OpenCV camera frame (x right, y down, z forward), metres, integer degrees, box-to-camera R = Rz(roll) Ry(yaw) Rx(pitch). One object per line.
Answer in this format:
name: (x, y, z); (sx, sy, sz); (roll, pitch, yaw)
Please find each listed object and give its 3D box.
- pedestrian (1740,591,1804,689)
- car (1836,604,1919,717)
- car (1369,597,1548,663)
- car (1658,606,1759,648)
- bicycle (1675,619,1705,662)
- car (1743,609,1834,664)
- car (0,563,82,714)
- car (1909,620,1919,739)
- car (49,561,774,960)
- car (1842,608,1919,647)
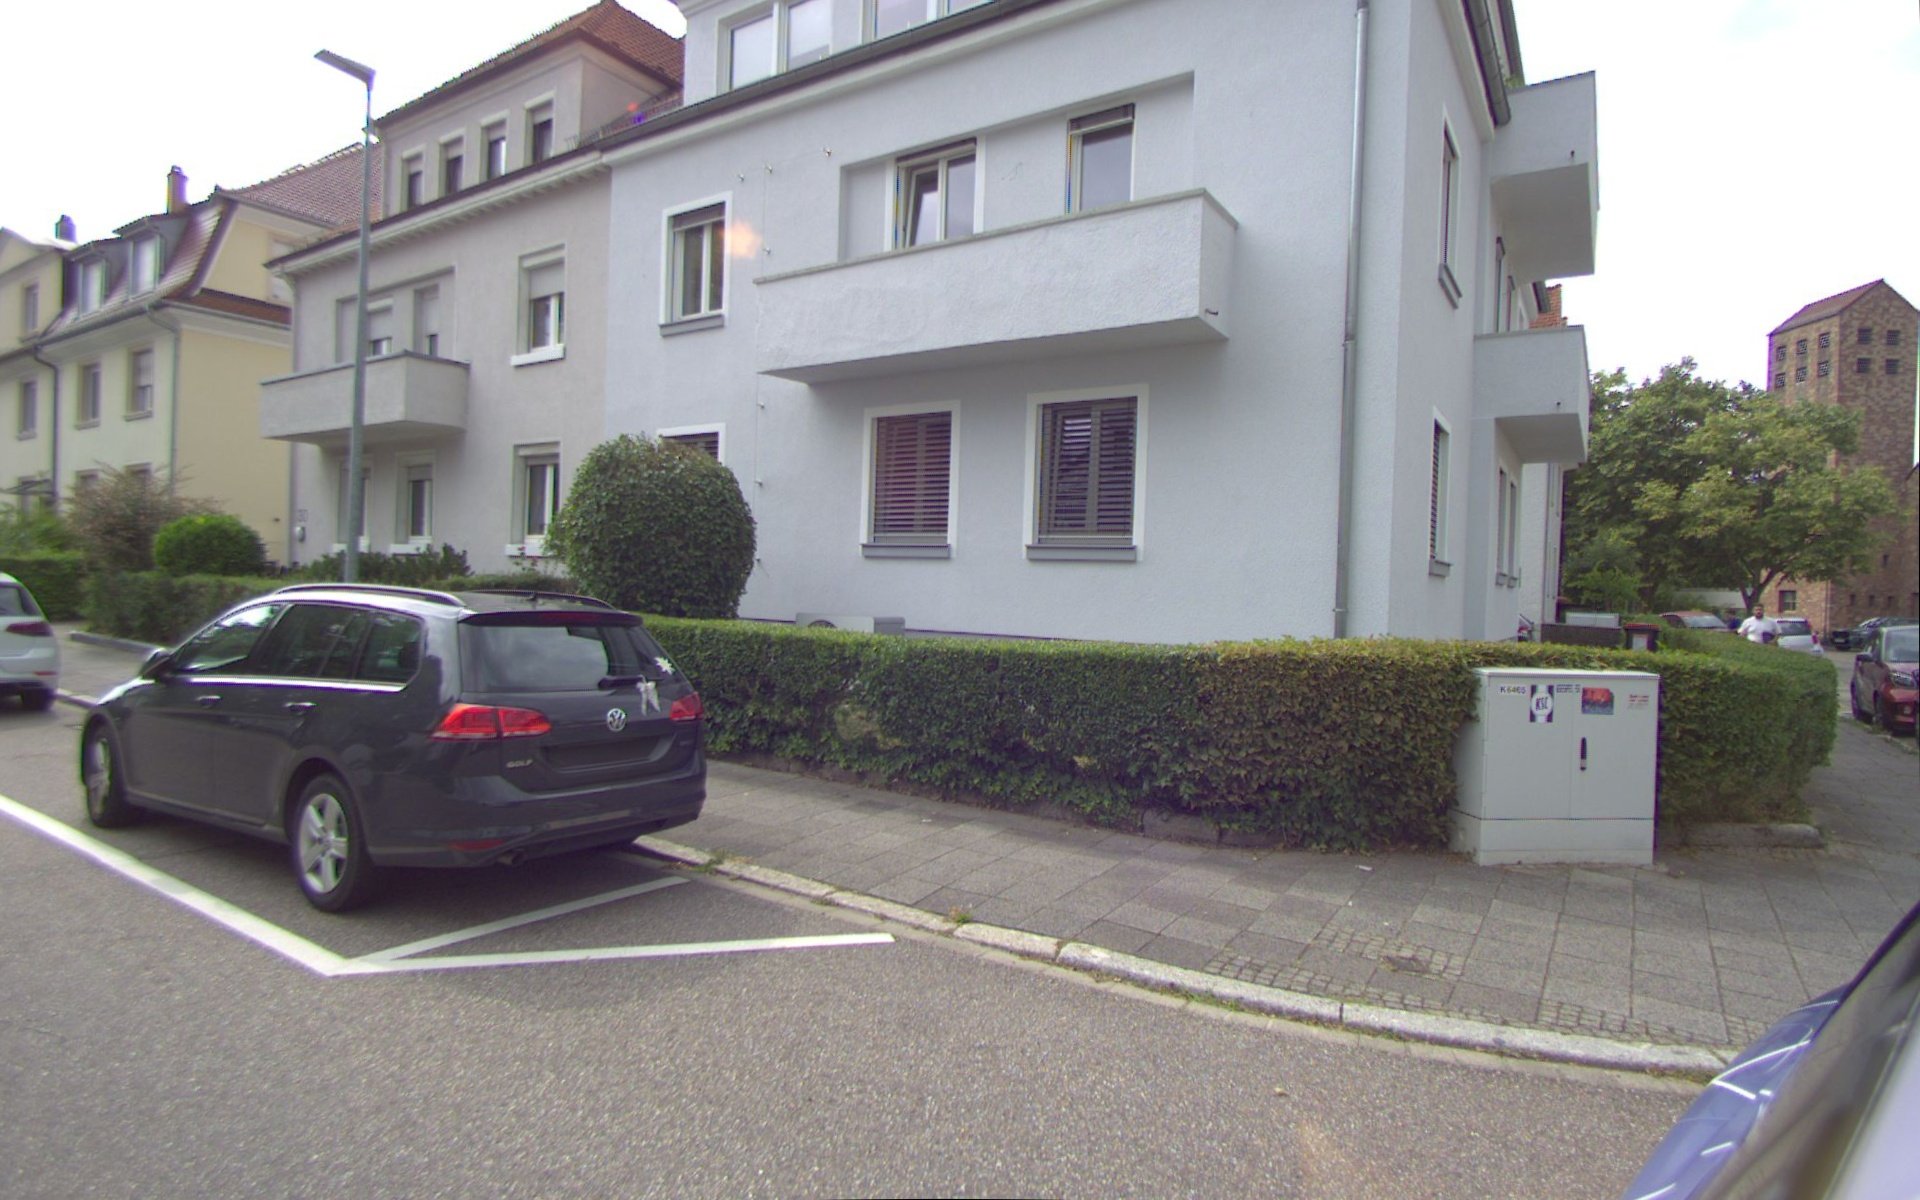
pedestrian: (16.498, 0.777, 20.582); (0.878, 1.902, 1.065); (2, 1, 34)
car: (14.378, 0.824, 14.960); (1.638, 1.515, 3.440); (-2, -1, 33)
car: (13.129, 0.727, 26.703); (3.975, 1.482, 1.975); (3, 1, 35)
car: (28.496, 0.992, 38.669); (1.624, 1.515, 3.472); (-1, -1, 9)
bicycle: (20.682, 1.121, 28.687); (0.419, 1.117, 2.093); (2, 1, 29)
car: (24.539, 1.032, 30.068); (1.638, 1.515, 3.440); (-2, -1, 33)
car: (-11.481, 0.325, 11.141); (4.150, 1.490, 1.836); (3, 1, 36)
car: (12.158, 0.999, 11.283); (1.638, 1.515, 3.440); (-2, -1, 33)
car: (-3.269, 0.589, 5.843); (4.142, 1.490, 1.839); (3, 1, 31)
car: (41.380, 1.222, 44.094); (4.199, 1.482, 1.664); (3, 3, 34)
